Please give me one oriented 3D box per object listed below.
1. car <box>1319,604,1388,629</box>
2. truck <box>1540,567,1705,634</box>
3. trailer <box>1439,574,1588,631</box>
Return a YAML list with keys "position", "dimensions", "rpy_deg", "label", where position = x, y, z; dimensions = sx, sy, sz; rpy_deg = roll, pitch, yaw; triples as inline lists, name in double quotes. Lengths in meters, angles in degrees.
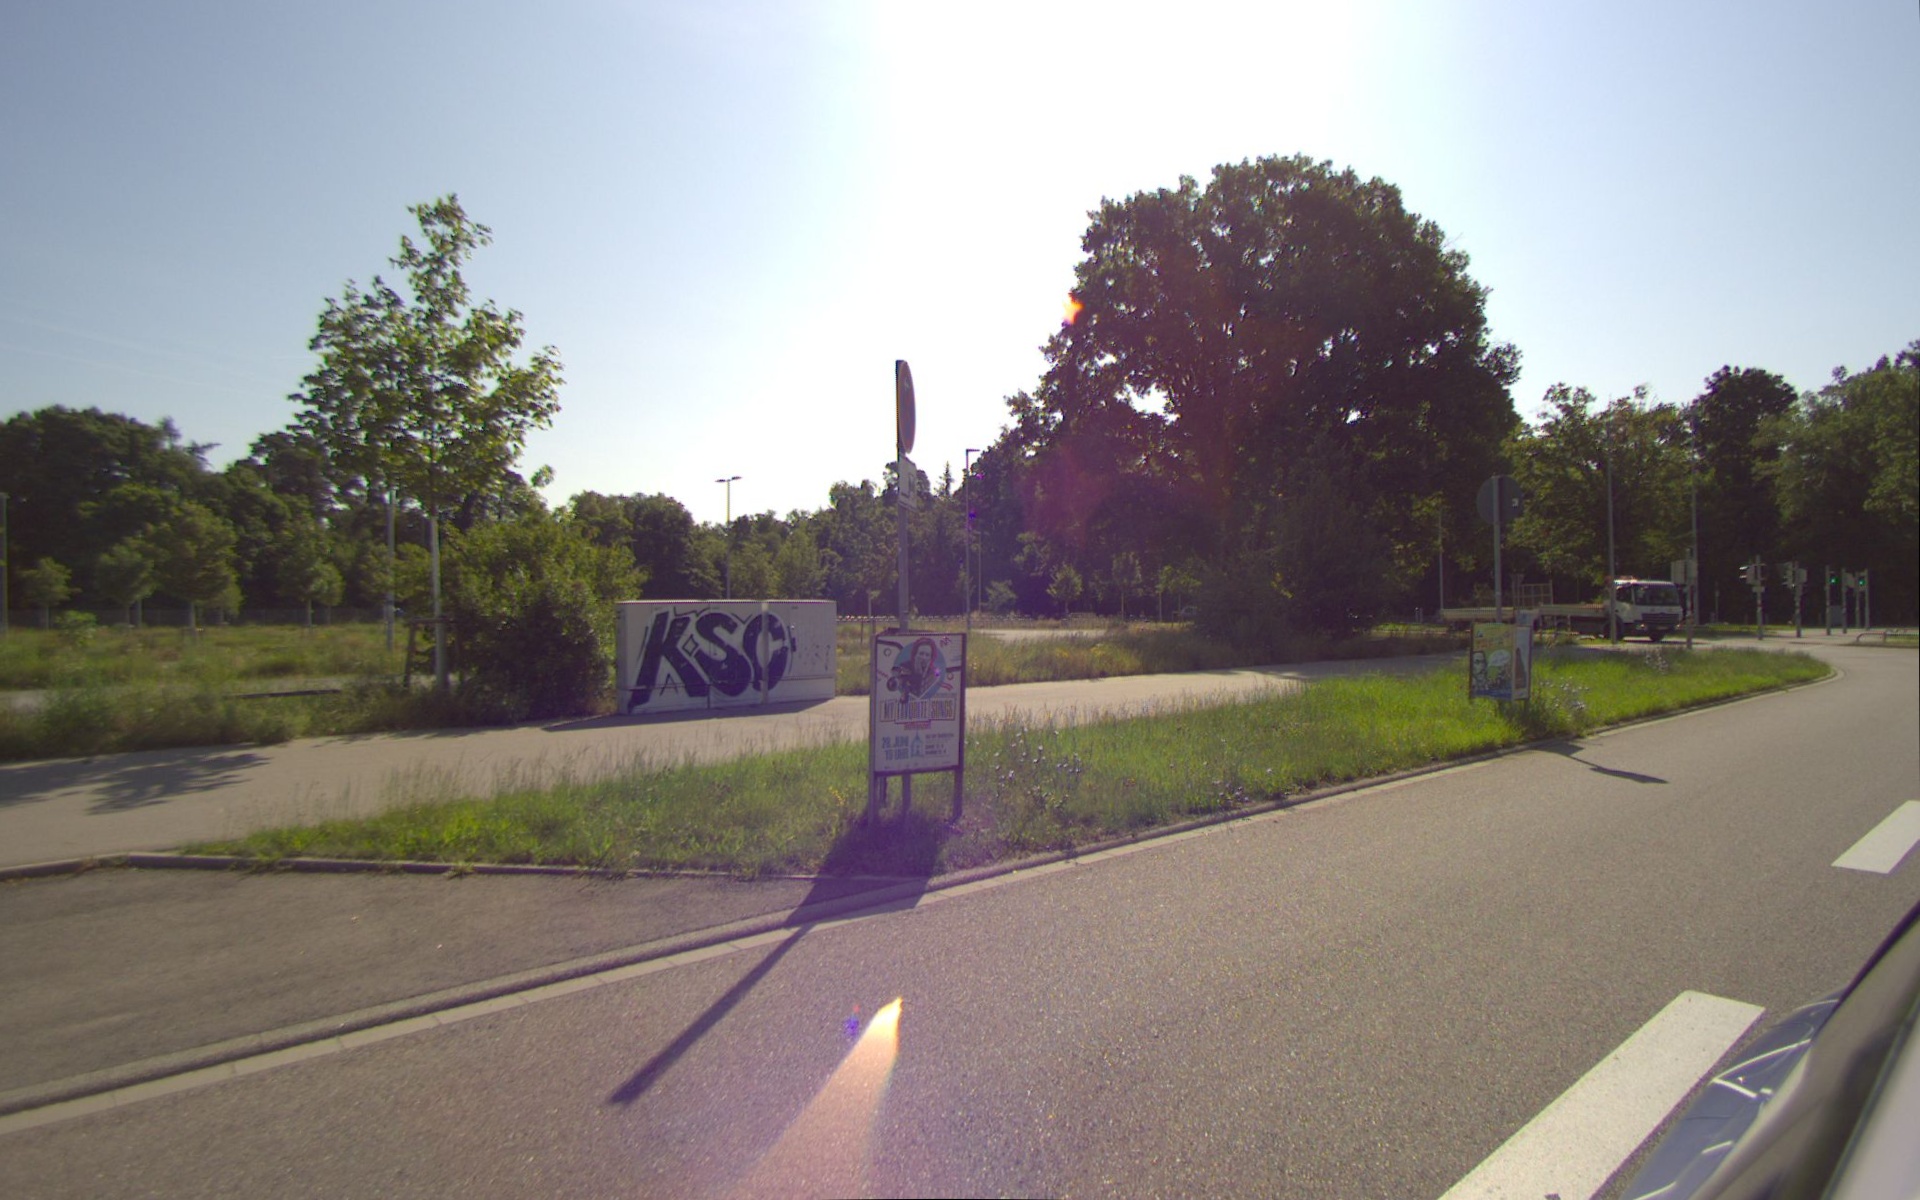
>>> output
- position: [24.304, 1.023, 62.594]
  dimensions: [1.808, 1.503, 4.008]
  rpy_deg: [0, -1, -18]
  label: "car"
- position: [29.446, 0.056, 45.356]
  dimensions: [2.625, 2.752, 6.211]
  rpy_deg: [-1, -1, -9]
  label: "truck"
- position: [28.056, 0.164, 51.720]
  dimensions: [2.647, 2.722, 6.901]
  rpy_deg: [-1, -1, -14]
  label: "trailer"
